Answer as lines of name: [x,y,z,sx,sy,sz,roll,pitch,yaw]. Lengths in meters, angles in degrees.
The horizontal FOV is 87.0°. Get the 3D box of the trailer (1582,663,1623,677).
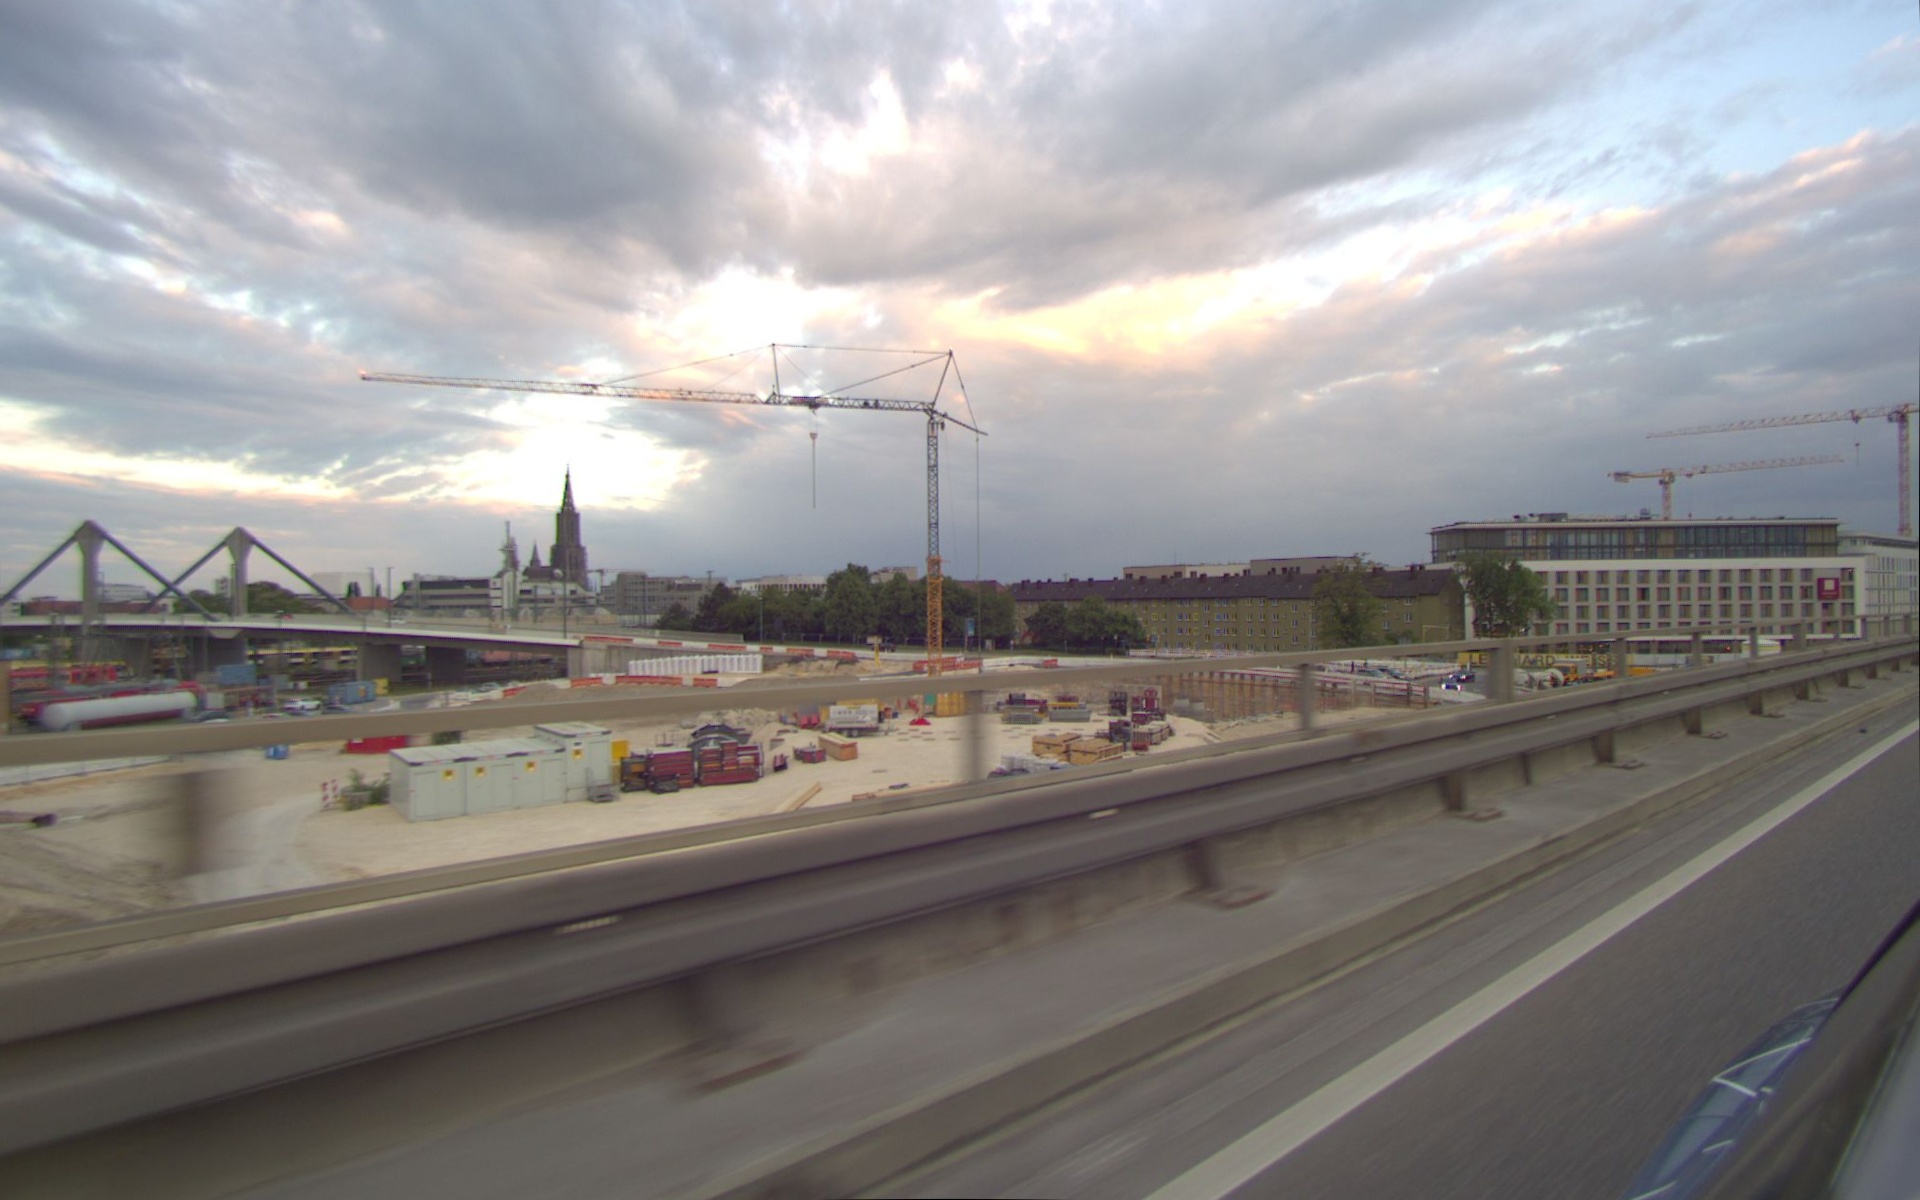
trailer: [74.324,8.076,117.040,5.765,1.366,1.997,1,-6,-38]

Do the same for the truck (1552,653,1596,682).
truck: [68.363,7.507,112.628,7.213,2.987,2.159,1,-4,-43]

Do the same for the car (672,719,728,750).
car: [-19.491,10.067,76.101,3.917,1.947,1.687,-3,-5,-12]

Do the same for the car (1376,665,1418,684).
car: [49.736,8.417,115.248,1.767,1.741,4.107,-3,2,-28]

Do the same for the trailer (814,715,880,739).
trailer: [-7.538,8.444,67.499,4.163,1.257,1.787,-1,-2,-12]

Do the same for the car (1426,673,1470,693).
car: [49.452,8.423,102.648,1.611,1.761,3.800,-1,-1,-24]

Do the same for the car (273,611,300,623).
car: [-126.413,3.185,189.875,3.942,2.039,1.991,3,0,15]

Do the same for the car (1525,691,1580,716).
car: [47.692,8.307,81.593,1.967,1.903,5.074,-1,-5,9]

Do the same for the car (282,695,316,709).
car: [-81.412,12.561,124.668,1.415,1.597,3.674,-5,-5,8]

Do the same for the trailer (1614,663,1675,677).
trailer: [79.960,8.165,118.313,5.832,1.365,2.003,0,1,34]

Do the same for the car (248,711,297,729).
car: [-72.401,12.634,106.605,4.279,1.540,1.863,-3,-1,14]

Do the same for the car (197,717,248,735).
car: [-74.223,12.696,101.887,4.279,1.540,1.863,-3,-1,14]

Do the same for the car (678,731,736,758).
car: [-17.238,9.879,69.099,3.718,1.461,1.530,-3,-5,-12]
